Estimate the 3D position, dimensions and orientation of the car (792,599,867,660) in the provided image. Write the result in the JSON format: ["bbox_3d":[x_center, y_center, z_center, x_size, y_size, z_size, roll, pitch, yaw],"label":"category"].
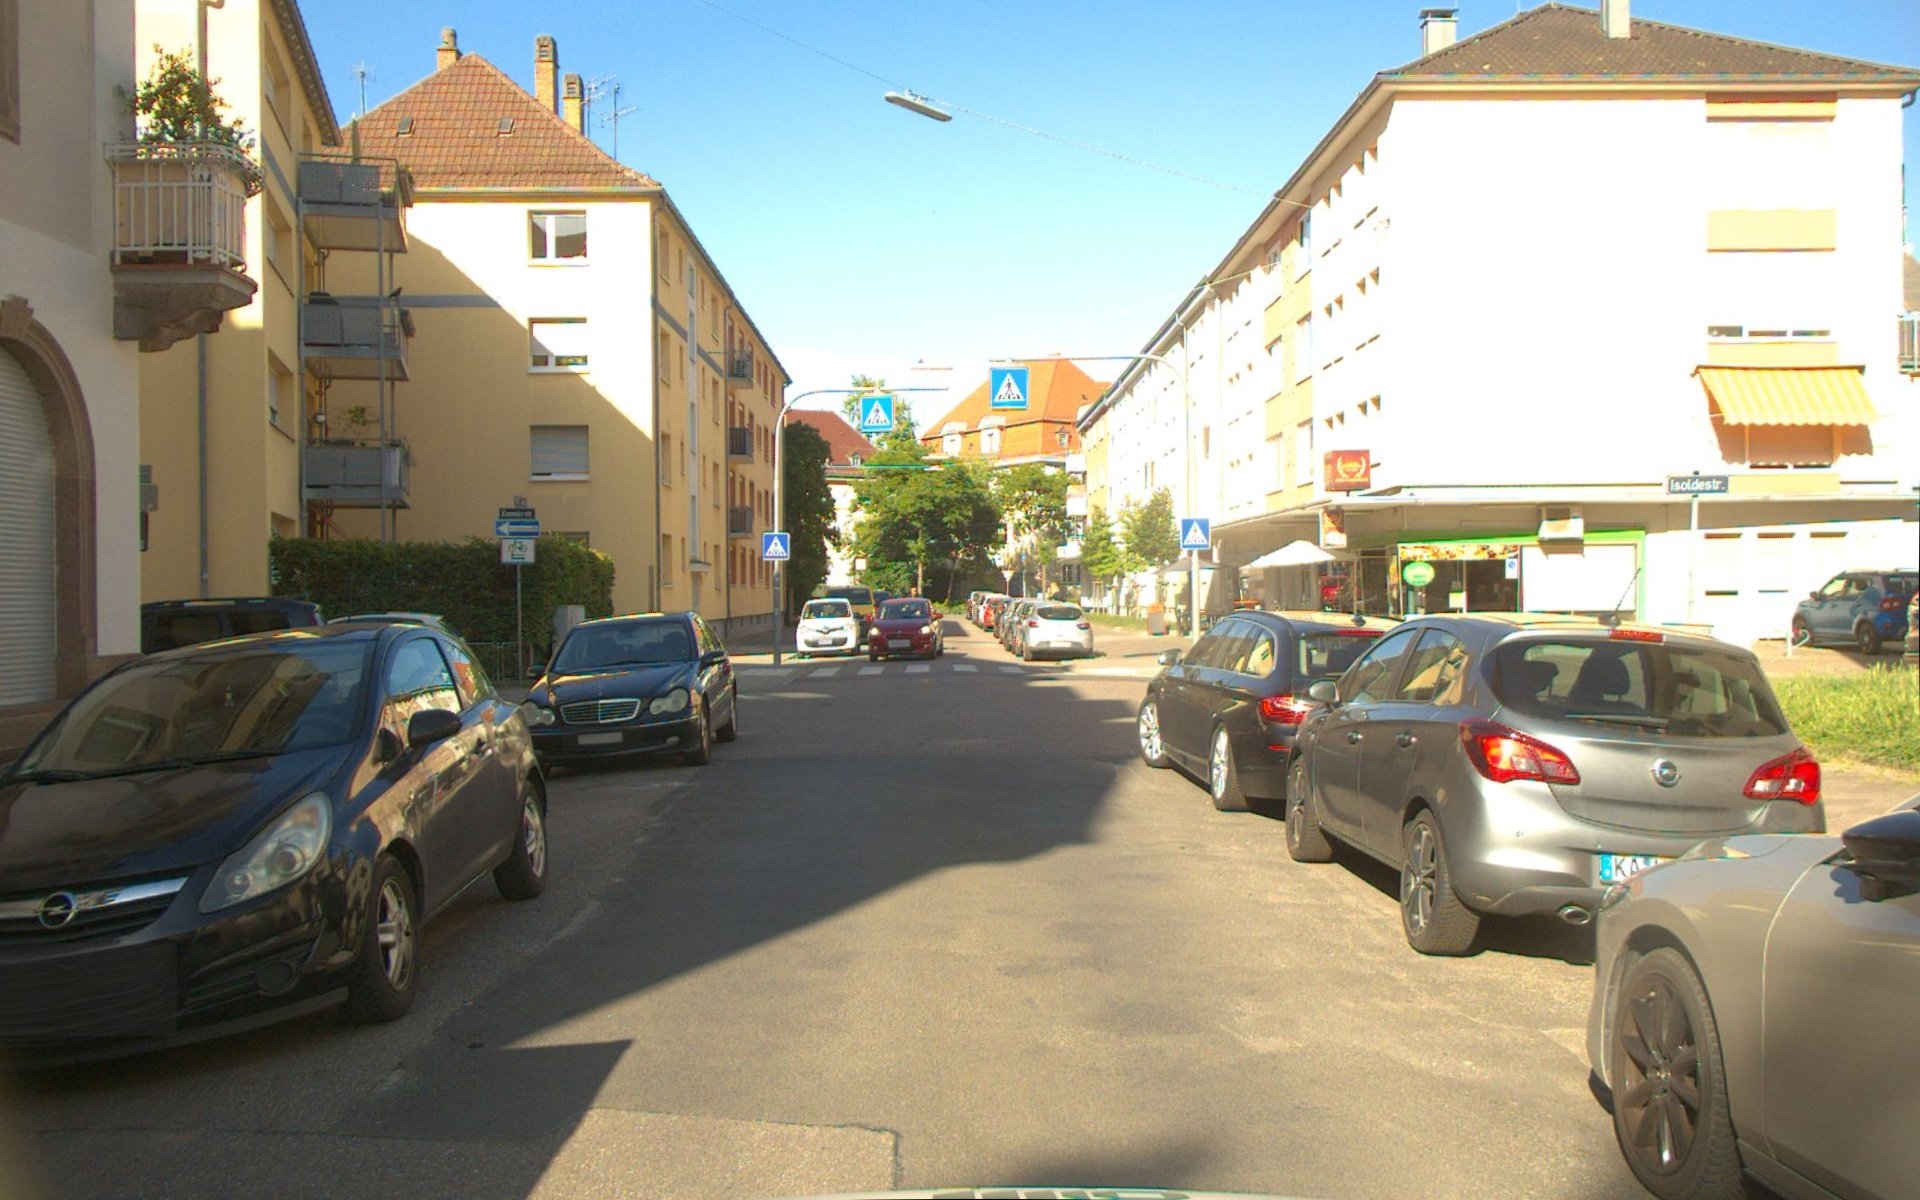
[{"bbox_3d":[-3.572,0.787,45.807,1.755,1.506,4.098,-1,1,-1],"label":"car"}]

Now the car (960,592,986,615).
[{"bbox_3d":[0.831,0.197,107.472,1.604,1.466,3.417,0,0,-2],"label":"car"}]

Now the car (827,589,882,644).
[{"bbox_3d":[-3.574,0.548,56.719,1.663,1.810,4.098,0,0,-1],"label":"car"}]

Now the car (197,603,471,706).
[{"bbox_3d":[-9.777,0.820,26.077,3.919,1.505,1.586,0,0,-19],"label":"car"}]

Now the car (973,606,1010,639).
[{"bbox_3d":[1.479,1.061,79.093,1.604,1.466,3.417,1,0,-2],"label":"car"}]

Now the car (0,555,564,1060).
[{"bbox_3d":[-2.918,0.669,6.999,1.613,1.440,4.078,-5,0,-3],"label":"car"}]

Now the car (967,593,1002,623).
[{"bbox_3d":[1.212,0.406,83.749,1.604,1.466,3.417,0,0,-2],"label":"car"}]

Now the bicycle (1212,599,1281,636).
[{"bbox_3d":[7.930,0.476,45.823,1.774,0.984,0.672,0,0,-12],"label":"bicycle"}]

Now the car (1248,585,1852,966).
[{"bbox_3d":[2.663,0.713,8.457,1.612,1.485,3.938,0,-1,-1],"label":"car"}]

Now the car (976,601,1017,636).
[{"bbox_3d":[1.582,0.801,72.784,1.604,1.466,3.417,0,0,-2],"label":"car"}]

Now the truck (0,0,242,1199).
[{"bbox_3d":[-2.898,-0.096,0.629,2.214,3.038,7.271,-3,0,-3],"label":"truck"}]

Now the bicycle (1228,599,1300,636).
[{"bbox_3d":[8.186,0.469,44.570,1.774,0.984,0.672,0,0,-12],"label":"bicycle"}]

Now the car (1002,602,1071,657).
[{"bbox_3d":[2.140,0.810,46.745,1.656,1.466,3.417,0,0,-2],"label":"car"}]

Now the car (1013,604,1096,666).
[{"bbox_3d":[2.334,0.845,41.633,1.808,1.466,3.418,0,0,-2],"label":"car"}]

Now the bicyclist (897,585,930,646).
[{"bbox_3d":[-1.298,0.426,46.279,0.769,1.649,0.956,-2,0,3],"label":"bicyclist"}]

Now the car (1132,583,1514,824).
[{"bbox_3d":[2.609,0.695,13.104,1.816,1.550,4.775,0,-1,-2],"label":"car"}]

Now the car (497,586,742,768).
[{"bbox_3d":[-3.233,0.687,16.521,1.670,1.440,4.371,-5,0,-3],"label":"car"}]

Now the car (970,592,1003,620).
[{"bbox_3d":[1.398,0.306,88.277,1.604,1.466,3.417,0,0,-2],"label":"car"}]

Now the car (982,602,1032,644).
[{"bbox_3d":[1.707,0.827,61.268,1.605,1.466,3.417,0,0,-2],"label":"car"}]

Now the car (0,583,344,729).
[{"bbox_3d":[-9.844,0.631,20.010,4.397,1.644,1.768,0,0,-19],"label":"car"}]

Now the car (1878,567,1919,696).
[{"bbox_3d":[14.216,0.385,20.931,4.153,1.641,1.825,0,0,5],"label":"car"}]

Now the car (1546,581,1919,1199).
[{"bbox_3d":[2.749,0.762,2.991,1.756,1.496,4.338,3,0,0],"label":"car"}]

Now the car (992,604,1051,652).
[{"bbox_3d":[1.910,0.858,52.230,1.605,1.466,3.417,0,0,-2],"label":"car"}]

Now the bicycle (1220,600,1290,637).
[{"bbox_3d":[8.055,0.501,45.196,1.774,0.984,0.672,0,0,-12],"label":"bicycle"}]

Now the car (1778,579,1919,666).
[{"bbox_3d":[18.074,0.415,33.140,1.547,1.641,3.474,0,0,-2],"label":"car"}]

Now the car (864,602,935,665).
[{"bbox_3d":[-1.457,0.785,40.605,1.663,1.466,3.418,0,0,-2],"label":"car"}]
